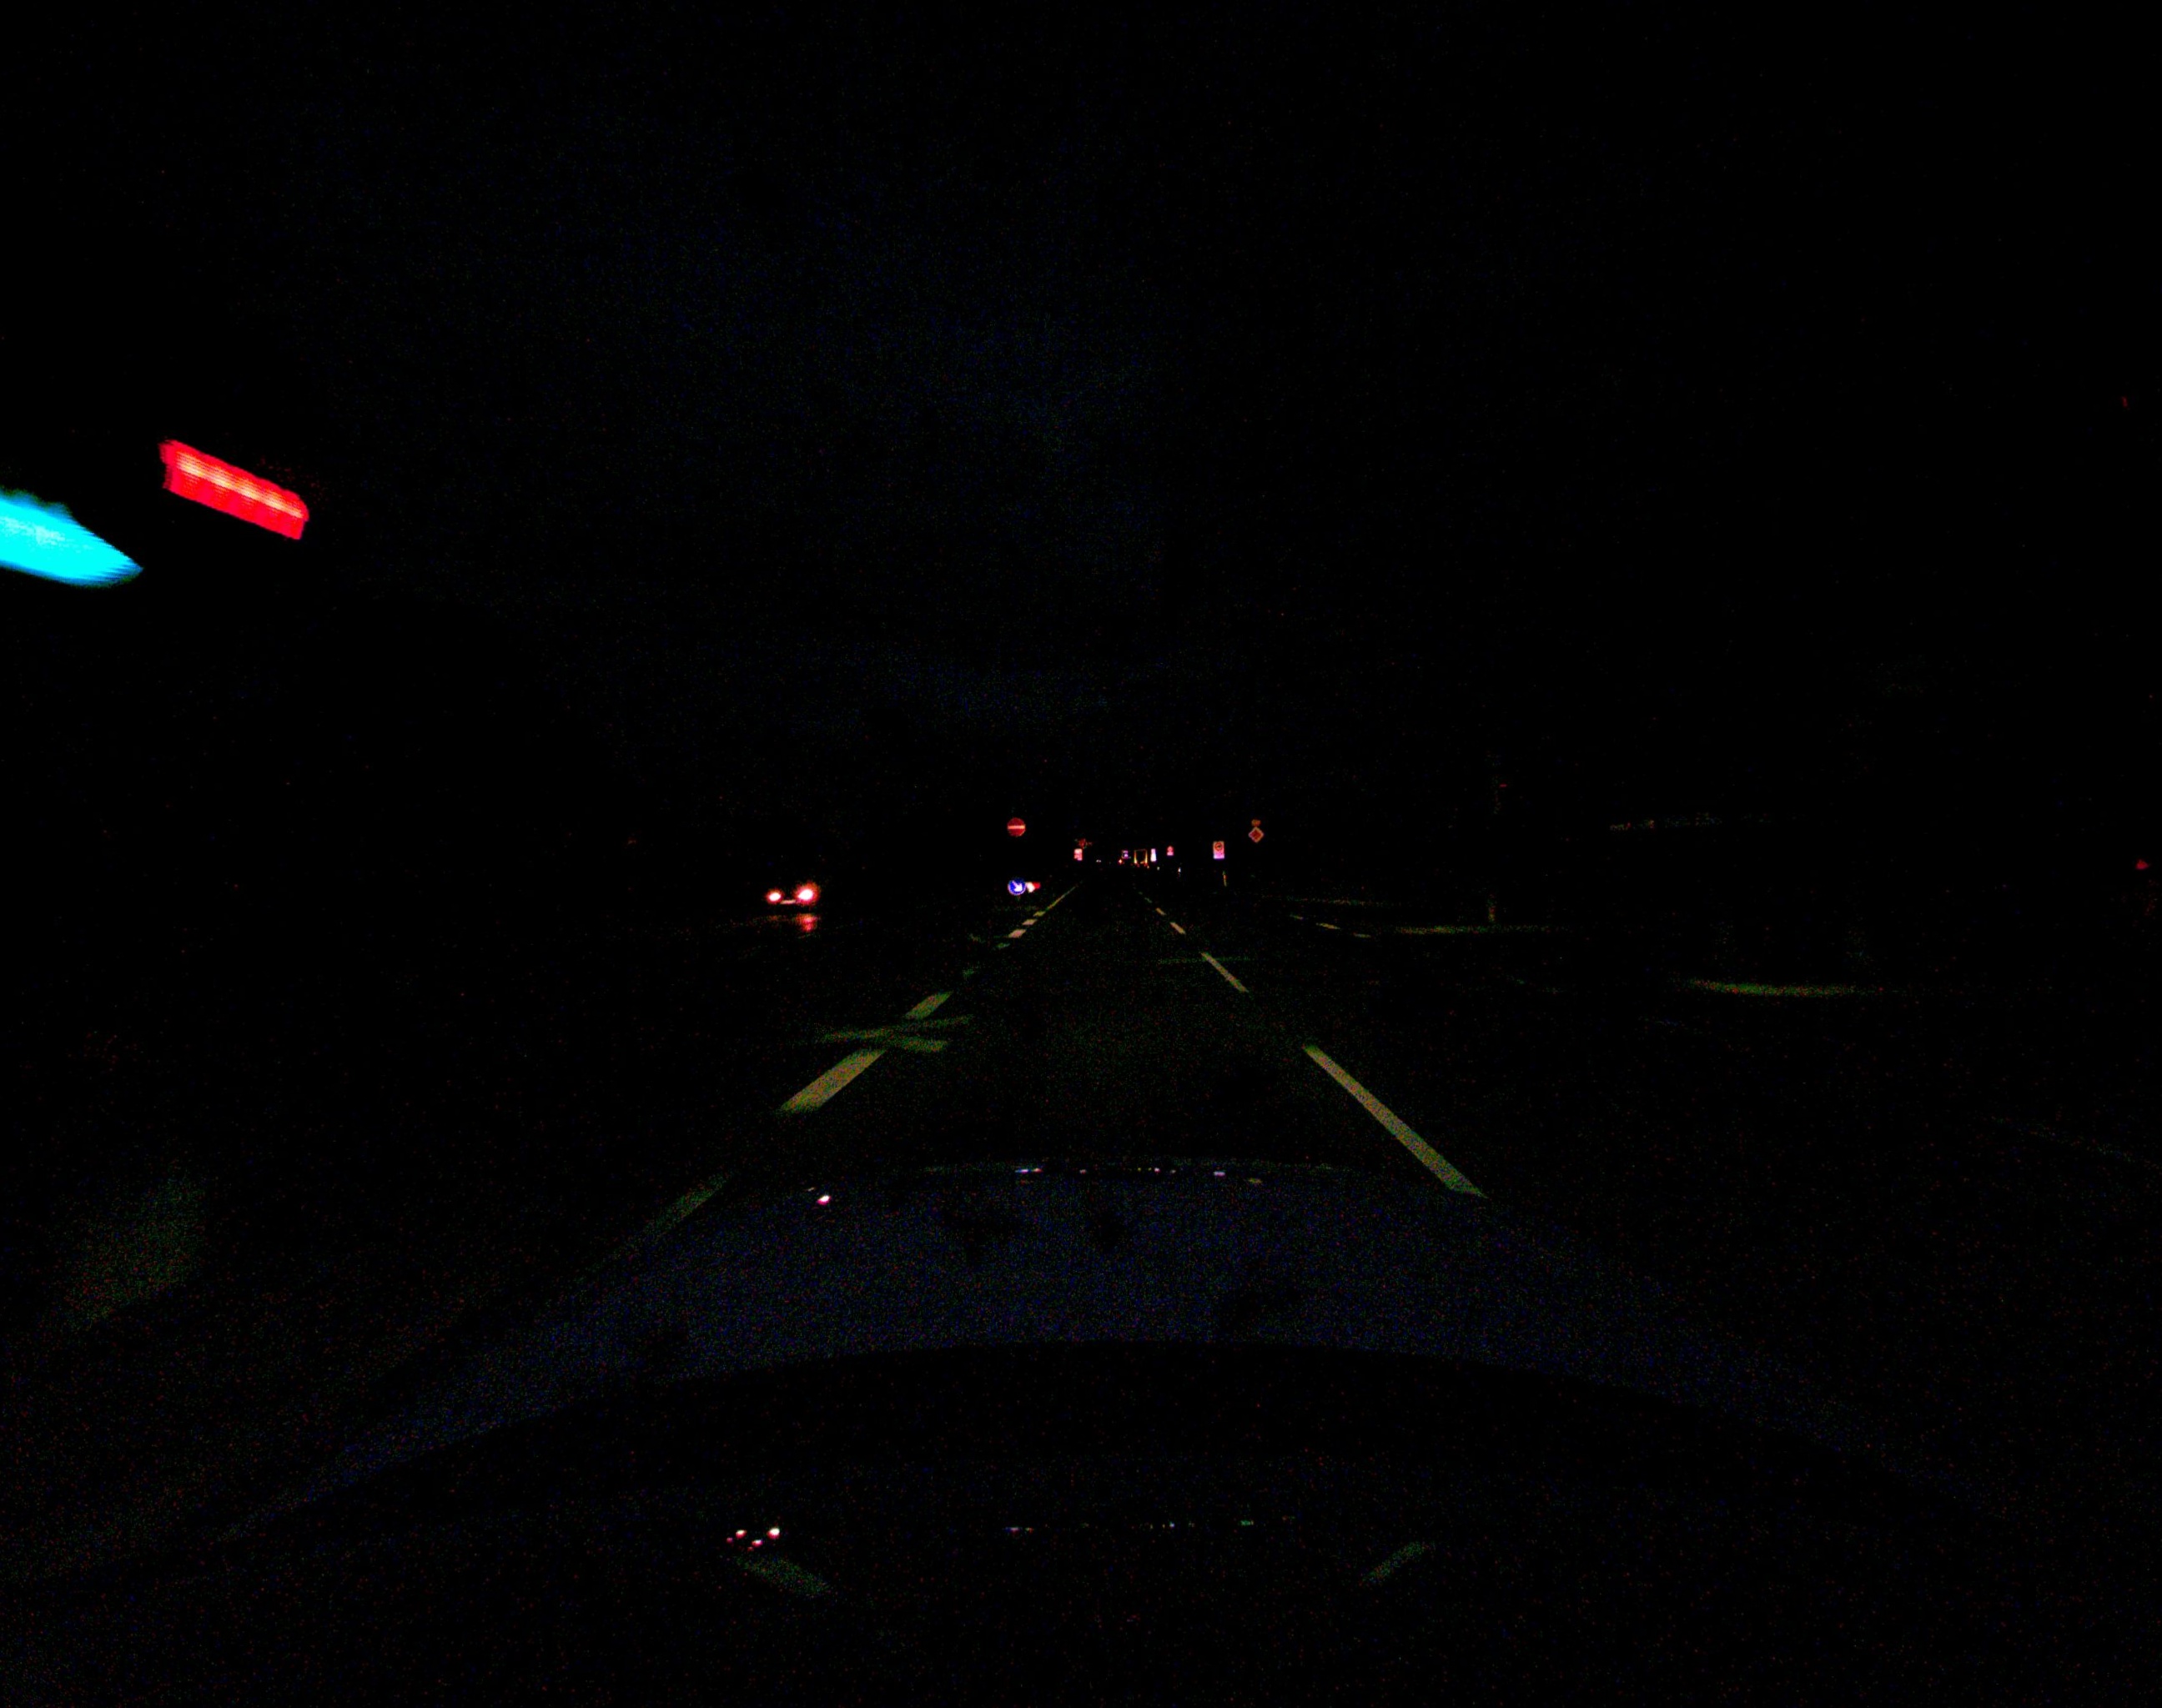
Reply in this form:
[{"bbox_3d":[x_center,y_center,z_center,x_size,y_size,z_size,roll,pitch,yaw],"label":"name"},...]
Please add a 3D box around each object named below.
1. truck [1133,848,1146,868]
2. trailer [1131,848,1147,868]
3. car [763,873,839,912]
[{"bbox_3d":[11.954,0.785,166.208,2.569,4.071,6.134,0,0,3],"label":"truck"},{"bbox_3d":[12.226,0.817,172.312,2.612,4.104,12.941,-2,0,2],"label":"trailer"},{"bbox_3d":[-11.547,1.536,33.865,1.646,1.384,4.030,-4,-1,1],"label":"car"}]
